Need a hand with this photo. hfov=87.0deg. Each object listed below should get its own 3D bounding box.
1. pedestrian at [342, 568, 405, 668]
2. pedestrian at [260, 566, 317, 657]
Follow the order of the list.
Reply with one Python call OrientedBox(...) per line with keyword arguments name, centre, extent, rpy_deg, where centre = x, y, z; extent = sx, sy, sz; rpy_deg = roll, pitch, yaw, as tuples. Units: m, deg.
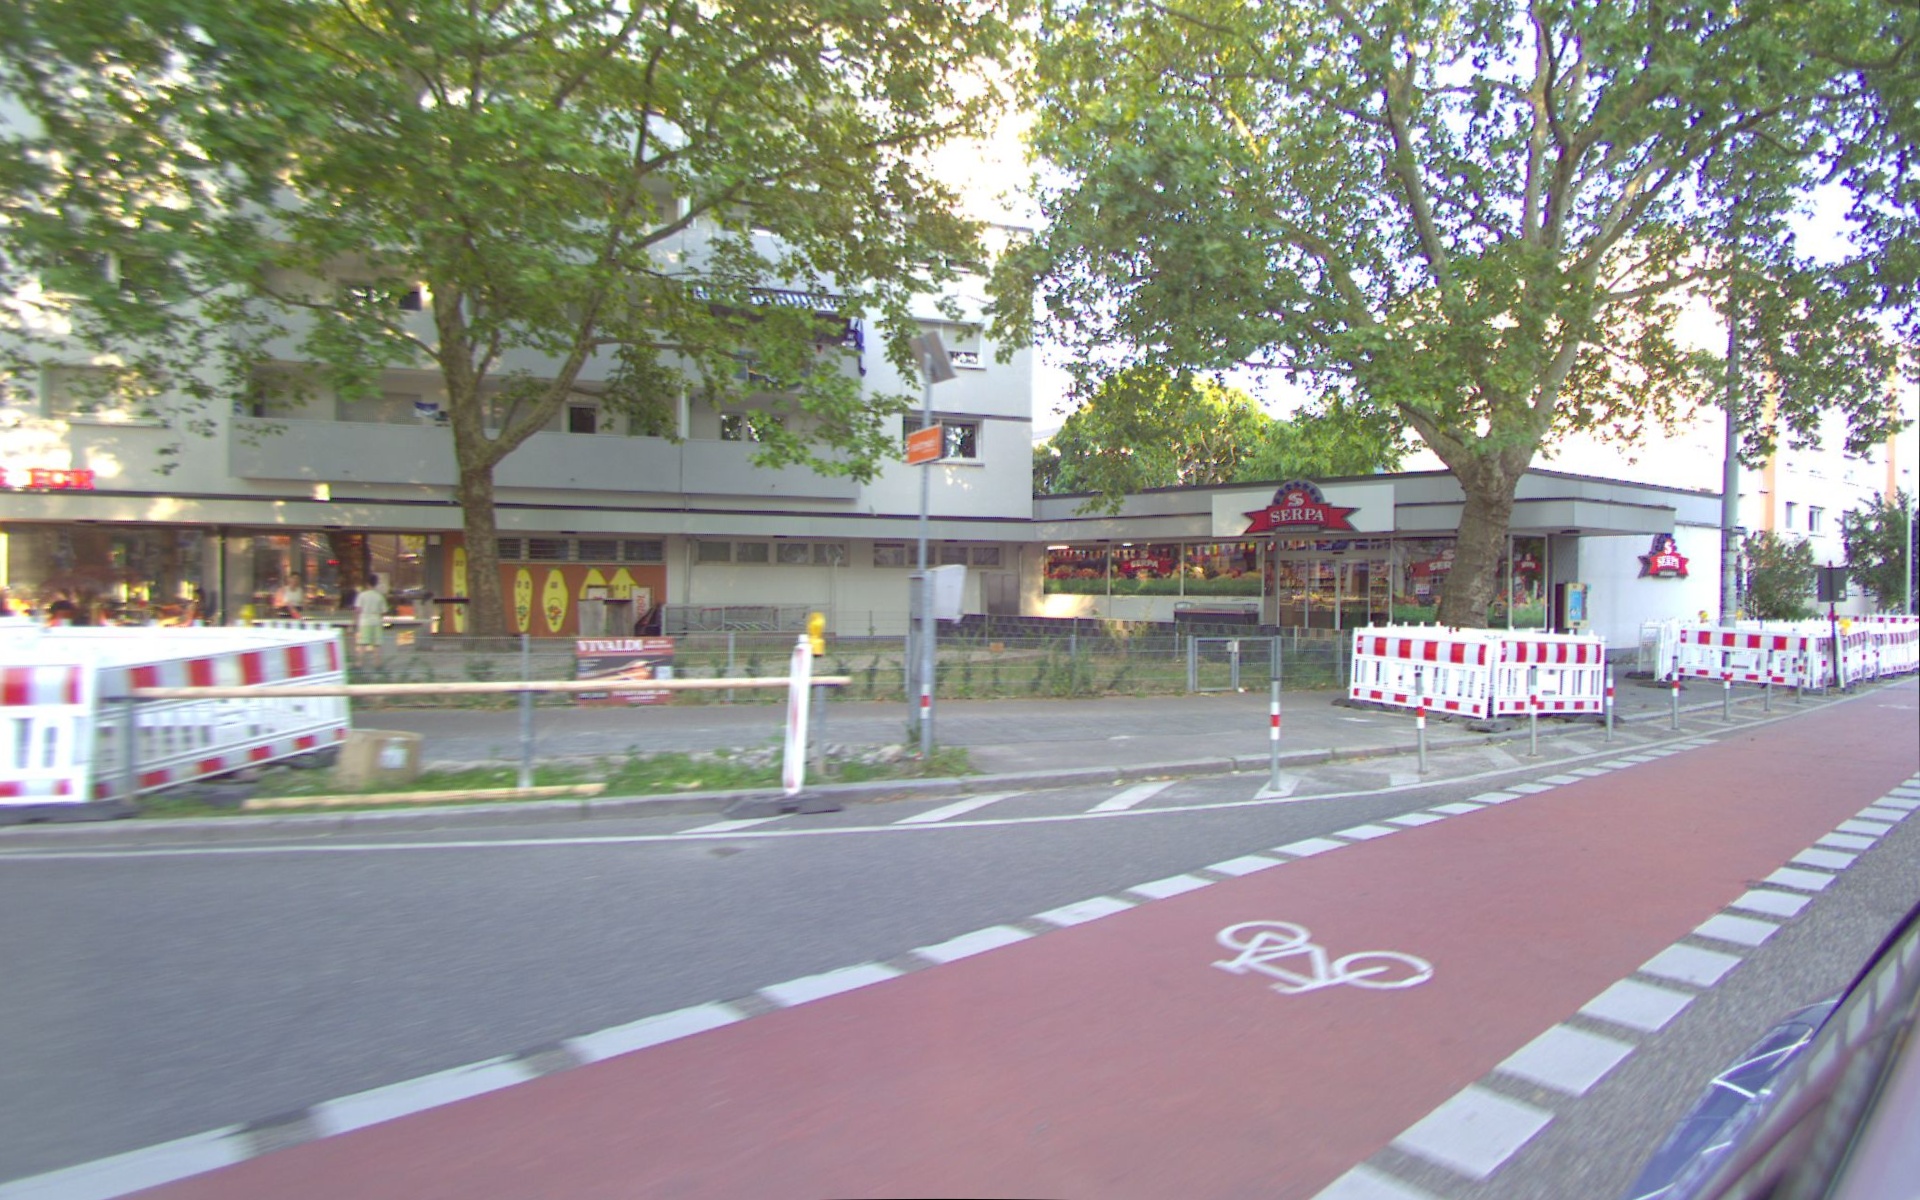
OrientedBox(name="pedestrian", centre=(-9.700, 0.290, 16.737), extent=(0.639, 1.608, 0.735), rpy_deg=(-1, 0, 43))
OrientedBox(name="pedestrian", centre=(-12.205, 0.201, 18.397), extent=(0.639, 1.608, 0.735), rpy_deg=(-1, 0, 43))
